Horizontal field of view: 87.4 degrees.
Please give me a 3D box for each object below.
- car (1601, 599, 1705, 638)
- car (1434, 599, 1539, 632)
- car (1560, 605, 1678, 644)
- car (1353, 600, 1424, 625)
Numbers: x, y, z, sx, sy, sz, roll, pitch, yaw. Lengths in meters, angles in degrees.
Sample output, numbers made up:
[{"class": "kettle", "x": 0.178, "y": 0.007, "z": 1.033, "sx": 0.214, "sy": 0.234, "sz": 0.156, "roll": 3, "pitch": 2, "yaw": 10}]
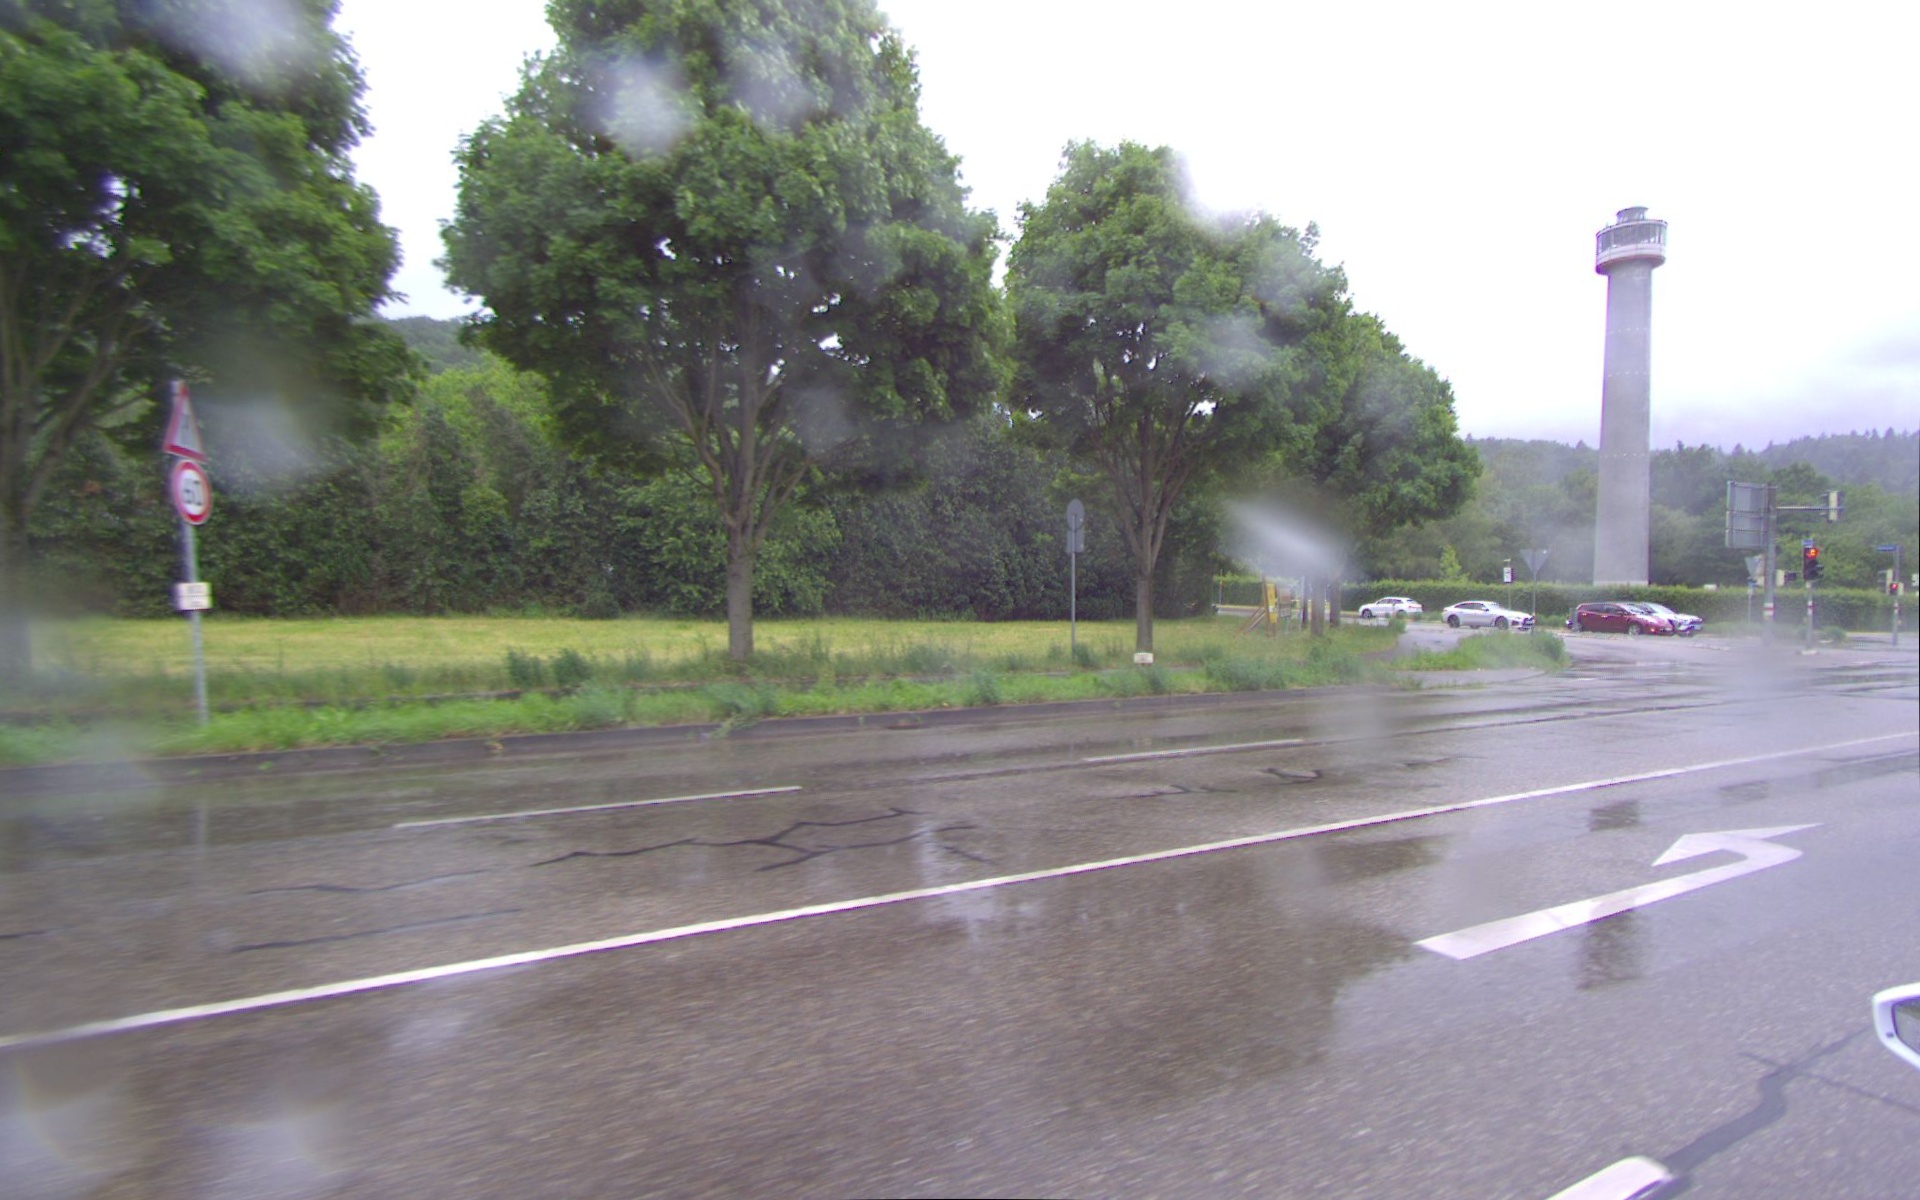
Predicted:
[{"class": "car", "x": 33.354, "y": 0.869, "z": 48.424, "sx": 1.721, "sy": 1.734, "sz": 3.793, "roll": 1, "pitch": 1, "yaw": -22}, {"class": "car", "x": 27.538, "y": 0.791, "z": 52.702, "sx": 1.774, "sy": 1.574, "sz": 4.870, "roll": 0, "pitch": 1, "yaw": -23}, {"class": "car", "x": 30.357, "y": 1.104, "z": 46.421, "sx": 1.708, "sy": 1.601, "sz": 4.365, "roll": 0, "pitch": 1, "yaw": -23}, {"class": "car", "x": 30.368, "y": 0.865, "z": 71.230, "sx": 1.721, "sy": 1.601, "sz": 4.332, "roll": 0, "pitch": 2, "yaw": -44}]
